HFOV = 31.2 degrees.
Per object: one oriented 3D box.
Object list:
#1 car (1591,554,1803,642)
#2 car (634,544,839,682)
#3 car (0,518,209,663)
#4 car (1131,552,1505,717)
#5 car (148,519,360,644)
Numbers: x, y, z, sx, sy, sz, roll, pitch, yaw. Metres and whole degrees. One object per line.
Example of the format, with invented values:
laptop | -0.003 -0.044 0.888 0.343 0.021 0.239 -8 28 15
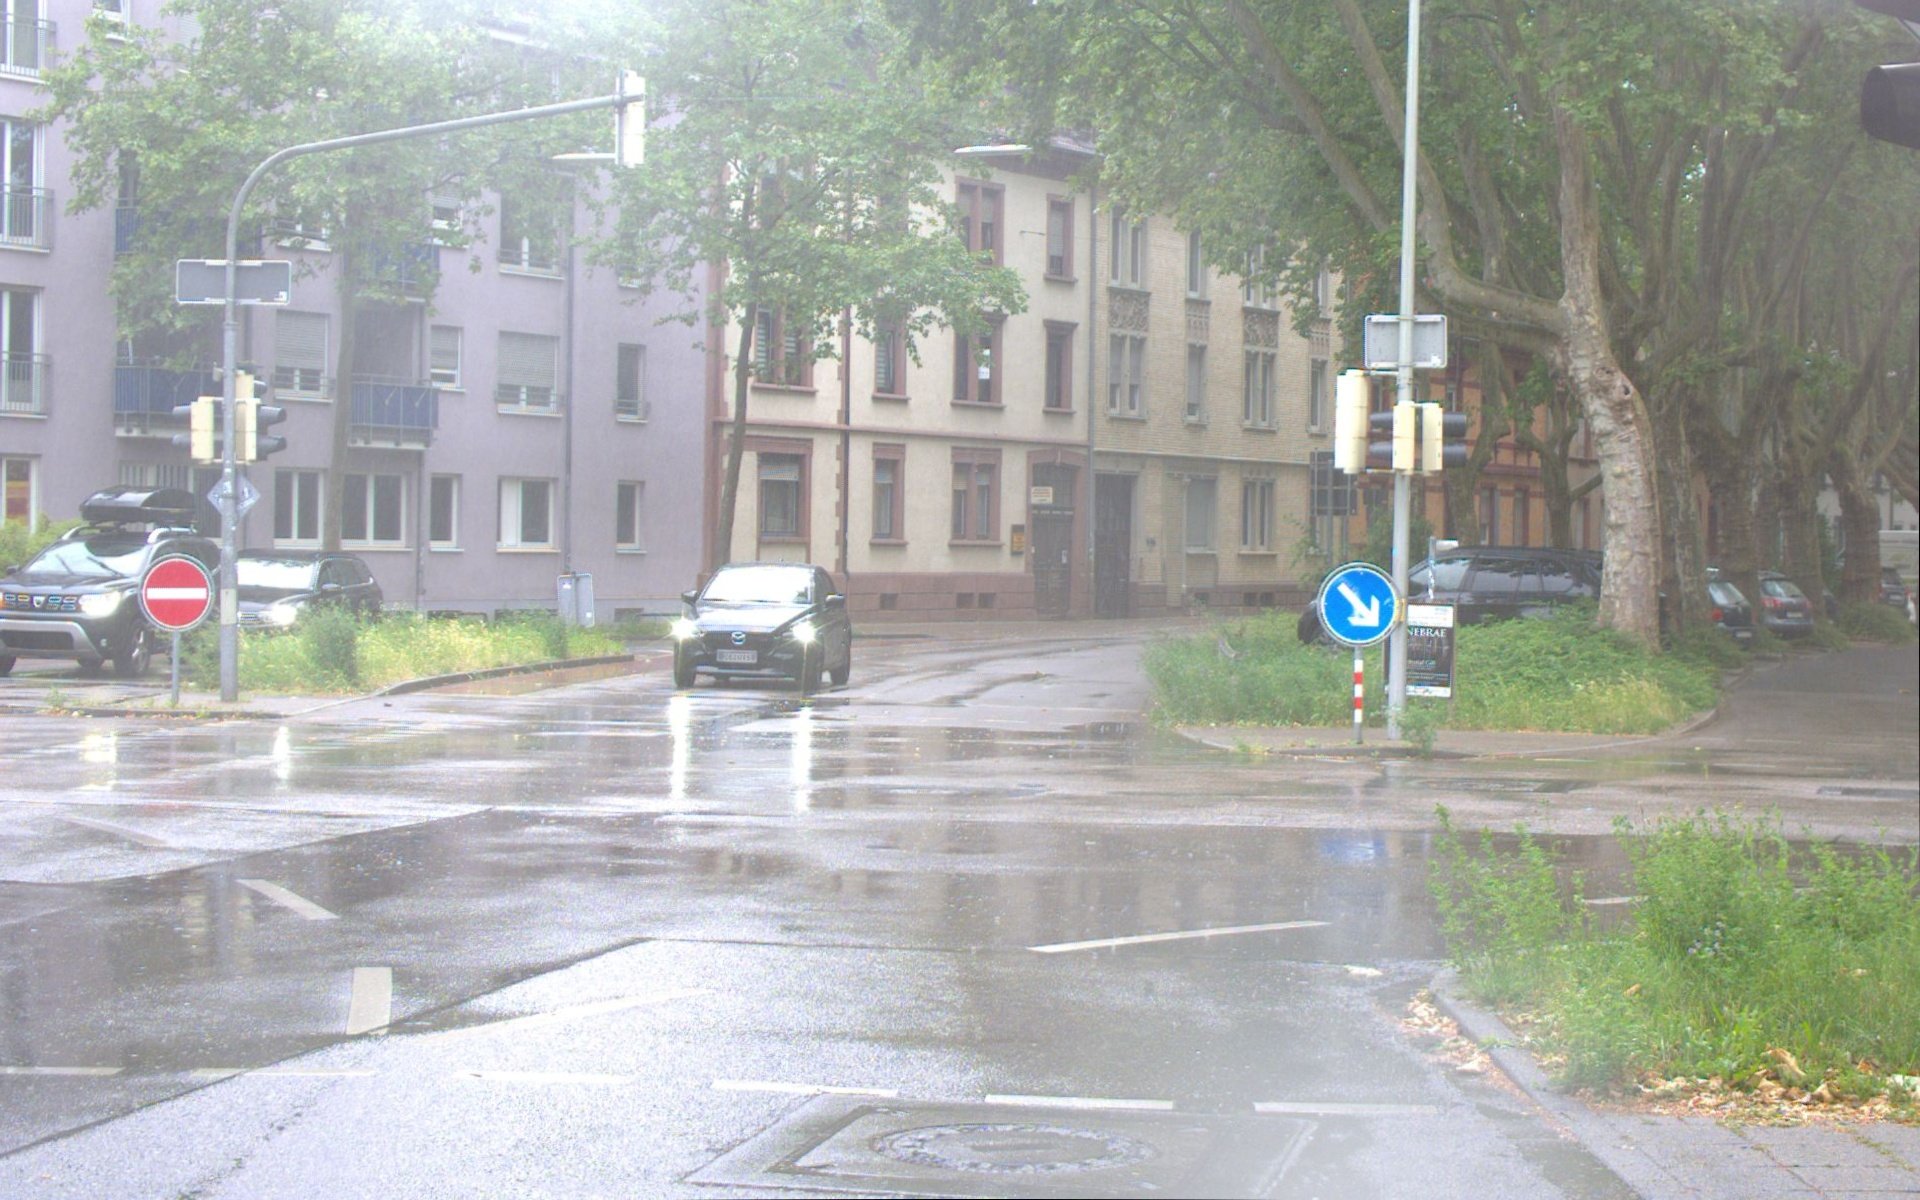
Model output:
car | 13.985 -0.051 65.254 3.611 1.612 1.679 0 1 28
car | -2.613 0.120 40.981 1.603 1.547 3.558 0 1 10
car | -9.892 -0.139 38.824 1.725 1.547 3.559 -1 1 5
car | 3.458 0.319 33.029 3.480 1.518 1.519 0 1 9
car | -9.174 -0.271 44.940 1.725 1.547 3.559 -1 1 5
